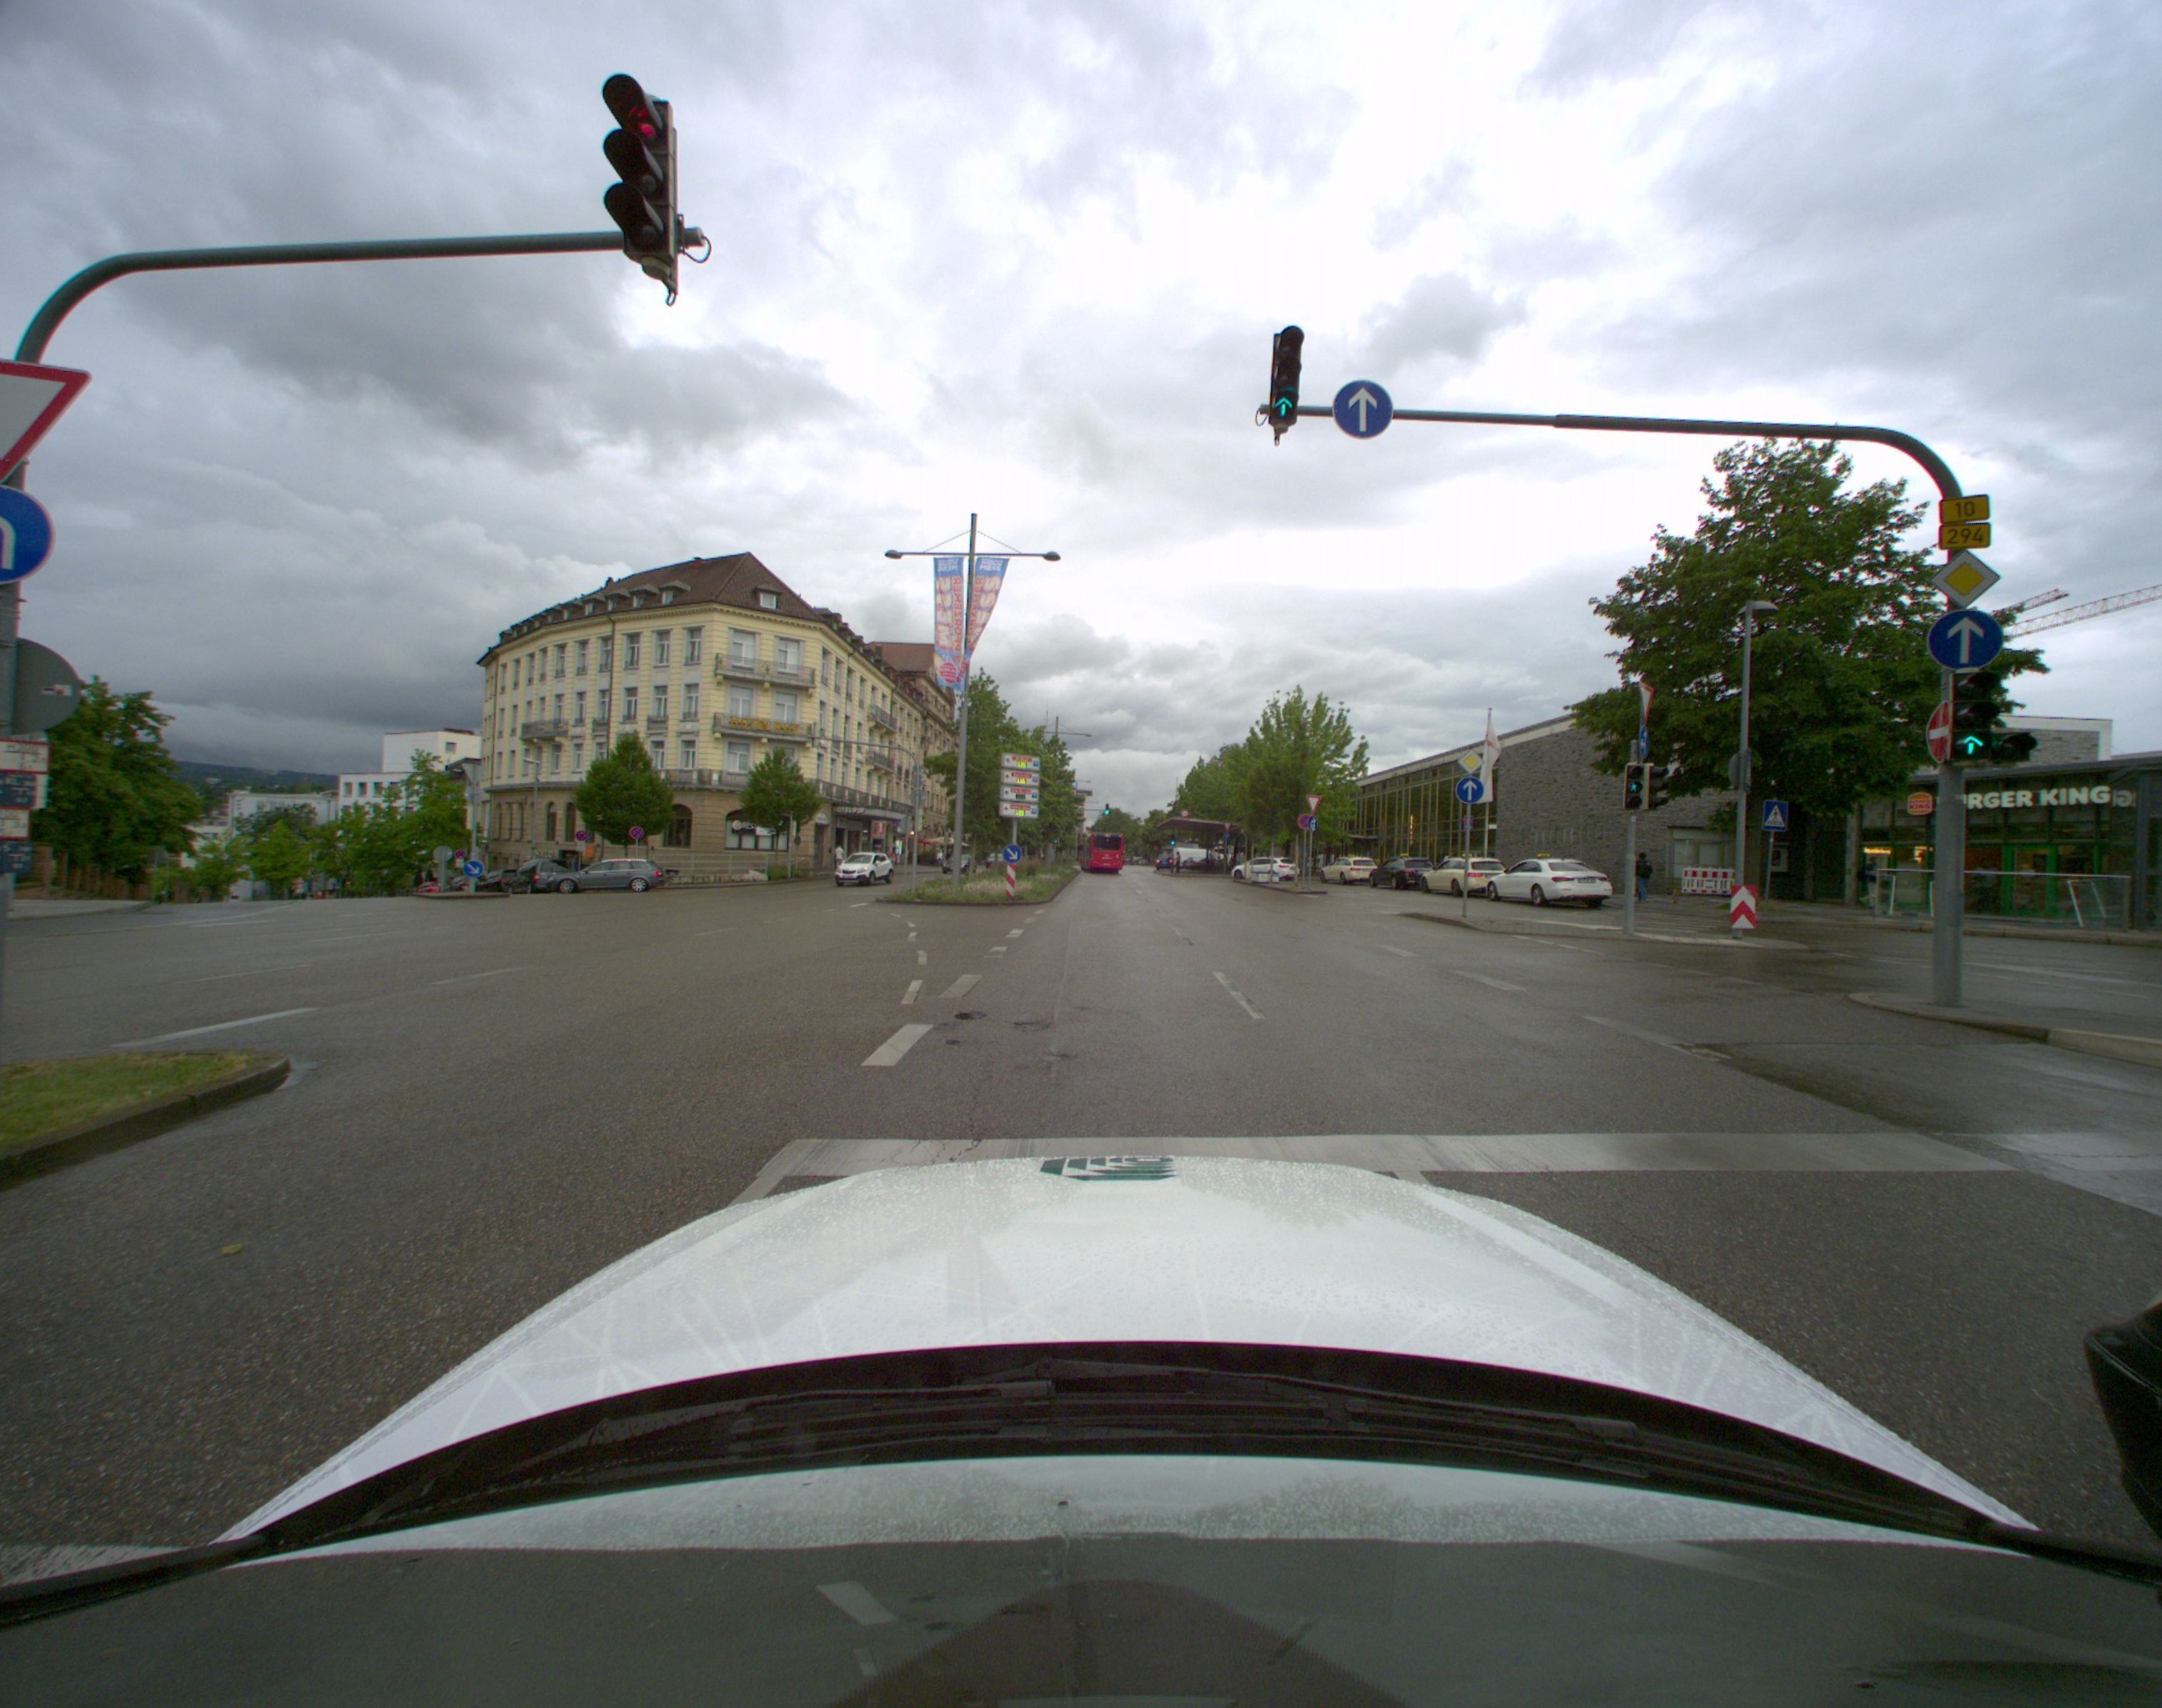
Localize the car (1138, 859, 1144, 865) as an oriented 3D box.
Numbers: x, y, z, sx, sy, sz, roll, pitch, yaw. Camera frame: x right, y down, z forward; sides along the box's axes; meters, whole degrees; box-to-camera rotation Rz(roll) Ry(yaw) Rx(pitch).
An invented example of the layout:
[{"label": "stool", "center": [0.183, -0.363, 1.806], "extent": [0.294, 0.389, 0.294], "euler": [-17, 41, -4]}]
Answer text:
[{"label": "car", "center": [16.275, 2.098, 220.888], "extent": [1.638, 1.661, 3.652], "euler": [0, -1, 2]}]

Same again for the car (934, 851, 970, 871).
[{"label": "car", "center": [-9.547, 0.514, 60.672], "extent": [1.948, 1.422, 4.001], "euler": [0, -1, 1]}]

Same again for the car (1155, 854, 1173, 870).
[{"label": "car", "center": [8.727, 0.875, 85.393], "extent": [1.849, 1.569, 4.006], "euler": [1, -1, 6]}]

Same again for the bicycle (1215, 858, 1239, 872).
[{"label": "bicycle", "center": [11.280, 0.849, 62.888], "extent": [1.821, 1.056, 0.420], "euler": [0, -1, 1]}]

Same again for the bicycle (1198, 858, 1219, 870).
[{"label": "bicycle", "center": [11.170, 0.857, 71.427], "extent": [1.831, 1.056, 0.418], "euler": [0, -1, -17]}]

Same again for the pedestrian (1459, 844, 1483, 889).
[{"label": "pedestrian", "center": [19.113, 0.619, 39.893], "extent": [0.793, 2.164, 0.722], "euler": [0, -1, -2]}]

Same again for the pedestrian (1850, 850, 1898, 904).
[{"label": "pedestrian", "center": [24.571, 0.708, 25.246], "extent": [0.715, 1.667, 0.800], "euler": [-1, -1, 12]}]

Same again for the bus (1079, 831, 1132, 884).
[{"label": "bus", "center": [1.830, 0.325, 67.157], "extent": [3.536, 3.979, 11.159], "euler": [0, -1, -3]}]

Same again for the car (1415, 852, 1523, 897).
[{"label": "car", "center": [14.933, 0.717, 31.673], "extent": [1.986, 1.599, 4.961], "euler": [0, 0, 2]}]

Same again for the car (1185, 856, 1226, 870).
[{"label": "car", "center": [13.116, 0.947, 85.847], "extent": [4.010, 1.359, 1.847], "euler": [1, -1, -29]}]

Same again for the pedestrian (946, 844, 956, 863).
[{"label": "pedestrian", "center": [-11.770, -0.053, 73.821], "extent": [0.679, 1.664, 0.807], "euler": [0, -1, 2]}]

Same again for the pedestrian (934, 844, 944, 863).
[{"label": "pedestrian", "center": [-12.845, -0.025, 73.864], "extent": [0.678, 1.664, 0.808], "euler": [0, -1, 5]}]

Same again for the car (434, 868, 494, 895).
[{"label": "car", "center": [-36.290, 1.596, 47.898], "extent": [3.948, 1.478, 1.781], "euler": [-1, -1, 37]}]

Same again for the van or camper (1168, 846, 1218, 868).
[{"label": "van or camper", "center": [14.136, 0.355, 102.641], "extent": [5.976, 2.763, 2.180], "euler": [0, -1, -26]}]

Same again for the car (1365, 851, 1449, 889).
[{"label": "car", "center": [15.024, 0.707, 37.879], "extent": [1.987, 1.599, 4.958], "euler": [1, 0, 1]}]

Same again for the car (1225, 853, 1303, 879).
[{"label": "car", "center": [11.421, 0.744, 51.170], "extent": [1.772, 1.546, 4.723], "euler": [1, -1, -38]}]

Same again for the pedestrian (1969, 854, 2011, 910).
[{"label": "pedestrian", "center": [27.518, 0.844, 24.668], "extent": [0.713, 1.667, 0.802], "euler": [-1, -1, 40]}]

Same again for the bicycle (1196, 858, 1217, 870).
[{"label": "bicycle", "center": [11.074, 0.862, 71.877], "extent": [1.831, 1.056, 0.418], "euler": [0, -1, -17]}]

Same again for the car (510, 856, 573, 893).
[{"label": "car", "center": [-27.065, 0.994, 40.807], "extent": [3.949, 1.759, 1.645], "euler": [0, 0, 42]}]

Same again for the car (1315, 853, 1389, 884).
[{"label": "car", "center": [14.675, 0.755, 44.493], "extent": [1.991, 1.599, 4.948], "euler": [0, 0, -6]}]

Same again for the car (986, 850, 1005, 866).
[{"label": "car", "center": [-8.280, 0.381, 78.663], "extent": [1.674, 1.512, 3.858], "euler": [0, -1, -4]}]

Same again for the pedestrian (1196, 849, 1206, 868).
[{"label": "pedestrian", "center": [11.913, 0.477, 81.058], "extent": [0.853, 1.835, 1.190], "euler": [0, -1, 1]}]

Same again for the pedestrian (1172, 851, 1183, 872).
[{"label": "pedestrian", "center": [7.899, 0.625, 66.862], "extent": [0.745, 1.747, 0.834], "euler": [1, -1, -7]}]

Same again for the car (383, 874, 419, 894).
[{"label": "car", "center": [-55.288, 2.430, 66.174], "extent": [3.949, 1.478, 1.781], "euler": [-1, -1, 43]}]

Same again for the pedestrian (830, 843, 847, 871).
[{"label": "pedestrian", "center": [-15.899, 0.216, 53.343], "extent": [0.876, 1.813, 0.751], "euler": [0, -1, 1]}]

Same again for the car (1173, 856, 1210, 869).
[{"label": "car", "center": [13.153, 1.035, 96.598], "extent": [4.006, 1.443, 1.849], "euler": [1, -1, -25]}]

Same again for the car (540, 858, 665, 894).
[{"label": "car", "center": [-20.415, 0.918, 34.950], "extent": [4.458, 1.465, 1.686], "euler": [0, -1, -25]}]

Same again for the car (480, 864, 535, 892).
[{"label": "car", "center": [-31.788, 1.302, 45.098], "extent": [3.949, 1.398, 1.645], "euler": [0, 0, 42]}]

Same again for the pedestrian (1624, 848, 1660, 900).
[{"label": "pedestrian", "center": [17.710, 0.620, 25.707], "extent": [0.727, 1.626, 0.788], "euler": [0, -1, -43]}]

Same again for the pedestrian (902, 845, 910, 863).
[{"label": "pedestrian", "center": [-16.137, -0.035, 75.181], "extent": [0.666, 1.664, 0.535], "euler": [0, -1, -7]}]

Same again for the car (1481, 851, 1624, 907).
[{"label": "car", "center": [14.757, 0.739, 25.866], "extent": [1.872, 1.599, 4.905], "euler": [0, -1, 2]}]

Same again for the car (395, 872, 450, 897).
[{"label": "car", "center": [-41.427, 1.905, 51.239], "extent": [3.958, 1.478, 1.781], "euler": [-1, -1, 37]}]

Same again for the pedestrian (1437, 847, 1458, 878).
[{"label": "pedestrian", "center": [18.943, 0.444, 42.095], "extent": [0.766, 1.580, 0.710], "euler": [0, -1, -2]}]

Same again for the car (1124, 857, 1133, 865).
[{"label": "car", "center": [9.683, 1.410, 166.213], "extent": [1.589, 1.561, 3.652], "euler": [0, -1, 2]}]

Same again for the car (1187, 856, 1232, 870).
[{"label": "car", "center": [12.972, 0.920, 82.182], "extent": [4.197, 1.325, 1.829], "euler": [1, -1, -18]}]

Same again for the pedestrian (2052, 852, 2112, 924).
[{"label": "pedestrian", "center": [24.779, 0.817, 20.167], "extent": [0.646, 1.666, 0.772], "euler": [-5, 4, -20]}]

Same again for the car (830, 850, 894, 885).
[{"label": "car", "center": [-10.923, 0.661, 40.953], "extent": [1.948, 1.618, 4.210], "euler": [0, -1, 2]}]
